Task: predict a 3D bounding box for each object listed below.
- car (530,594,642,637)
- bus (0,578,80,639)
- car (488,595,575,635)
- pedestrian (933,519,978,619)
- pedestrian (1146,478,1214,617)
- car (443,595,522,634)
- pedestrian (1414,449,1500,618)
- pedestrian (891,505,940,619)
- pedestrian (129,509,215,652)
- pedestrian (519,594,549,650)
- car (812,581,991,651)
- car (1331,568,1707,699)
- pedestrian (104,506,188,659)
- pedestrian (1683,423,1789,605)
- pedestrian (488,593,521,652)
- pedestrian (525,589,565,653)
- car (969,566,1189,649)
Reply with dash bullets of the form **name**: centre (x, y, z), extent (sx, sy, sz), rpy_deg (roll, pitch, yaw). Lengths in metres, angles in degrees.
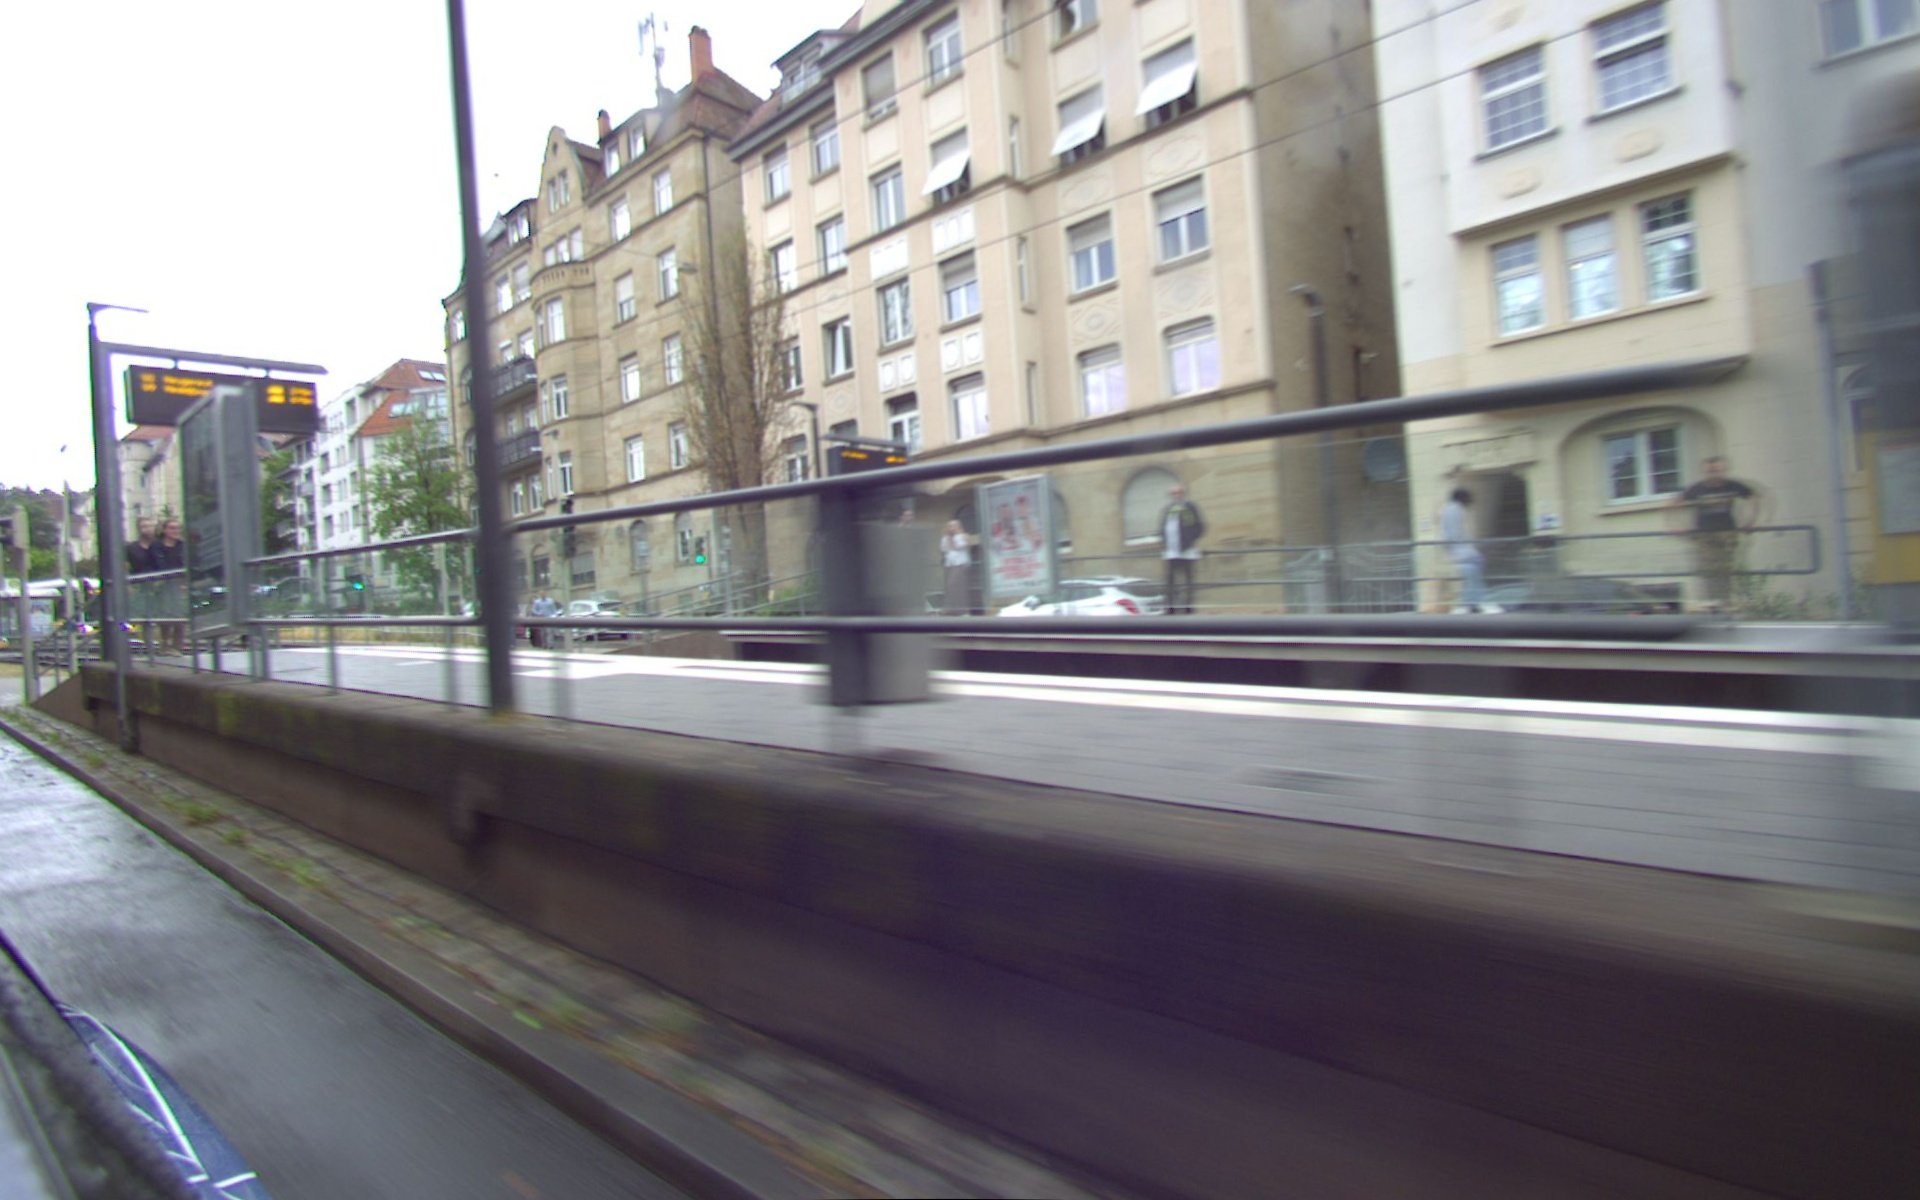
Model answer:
- **car**: centre (-13.669, 0.559, 36.809), extent (4.866, 1.453, 1.699), rpy_deg (-1, 1, 41)
- **bus**: centre (-56.483, 0.510, 61.316), extent (9.084, 3.495, 2.569), rpy_deg (-1, 0, 34)
- **car**: centre (-17.131, 0.600, 40.361), extent (4.174, 1.453, 1.613), rpy_deg (-1, 1, 43)
- **pedestrian**: centre (-0.079, -0.503, 16.877), extent (0.562, 1.617, 0.510), rpy_deg (-1, -1, 42)
- **pedestrian**: centre (3.016, -0.696, 13.892), extent (0.762, 1.852, 0.510), rpy_deg (-1, -1, 42)
- **car**: centre (-20.522, 0.640, 43.422), extent (4.174, 1.559, 1.613), rpy_deg (-1, 1, 43)
- **pedestrian**: centre (5.665, -0.726, 11.544), extent (0.762, 1.852, 0.510), rpy_deg (-1, -1, 42)
- **pedestrian**: centre (-0.743, -0.622, 16.999), extent (0.598, 1.864, 0.555), rpy_deg (-1, -1, 42)
- **pedestrian**: centre (-9.047, -0.215, 11.621), extent (0.683, 1.574, 0.643), rpy_deg (-1, 0, 42)
- **pedestrian**: centre (-11.925, 0.620, 28.306), extent (0.620, 1.543, 0.515), rpy_deg (-1, 0, 39)
- **car**: centre (-1.578, 0.346, 25.985), extent (4.532, 1.544, 1.972), rpy_deg (1, 4, 43)
- **car**: centre (8.565, 0.437, 15.833), extent (4.816, 1.745, 1.971), rpy_deg (0, 0, 45)
- **pedestrian**: centre (-9.986, -0.208, 12.412), extent (0.847, 1.797, 0.643), rpy_deg (-1, 0, 42)
- **pedestrian**: centre (7.538, -0.794, 9.835), extent (0.762, 1.678, 0.588), rpy_deg (-1, -1, 42)
- **pedestrian**: centre (-12.689, 0.610, 28.188), extent (0.621, 1.605, 0.618), rpy_deg (-1, 0, 43)
- **pedestrian**: centre (-11.316, 0.569, 27.594), extent (0.729, 1.712, 0.712), rpy_deg (-1, 0, 43)
- **car**: centre (2.496, 0.186, 22.099), extent (4.536, 1.634, 1.902), rpy_deg (-2, -1, 44)
